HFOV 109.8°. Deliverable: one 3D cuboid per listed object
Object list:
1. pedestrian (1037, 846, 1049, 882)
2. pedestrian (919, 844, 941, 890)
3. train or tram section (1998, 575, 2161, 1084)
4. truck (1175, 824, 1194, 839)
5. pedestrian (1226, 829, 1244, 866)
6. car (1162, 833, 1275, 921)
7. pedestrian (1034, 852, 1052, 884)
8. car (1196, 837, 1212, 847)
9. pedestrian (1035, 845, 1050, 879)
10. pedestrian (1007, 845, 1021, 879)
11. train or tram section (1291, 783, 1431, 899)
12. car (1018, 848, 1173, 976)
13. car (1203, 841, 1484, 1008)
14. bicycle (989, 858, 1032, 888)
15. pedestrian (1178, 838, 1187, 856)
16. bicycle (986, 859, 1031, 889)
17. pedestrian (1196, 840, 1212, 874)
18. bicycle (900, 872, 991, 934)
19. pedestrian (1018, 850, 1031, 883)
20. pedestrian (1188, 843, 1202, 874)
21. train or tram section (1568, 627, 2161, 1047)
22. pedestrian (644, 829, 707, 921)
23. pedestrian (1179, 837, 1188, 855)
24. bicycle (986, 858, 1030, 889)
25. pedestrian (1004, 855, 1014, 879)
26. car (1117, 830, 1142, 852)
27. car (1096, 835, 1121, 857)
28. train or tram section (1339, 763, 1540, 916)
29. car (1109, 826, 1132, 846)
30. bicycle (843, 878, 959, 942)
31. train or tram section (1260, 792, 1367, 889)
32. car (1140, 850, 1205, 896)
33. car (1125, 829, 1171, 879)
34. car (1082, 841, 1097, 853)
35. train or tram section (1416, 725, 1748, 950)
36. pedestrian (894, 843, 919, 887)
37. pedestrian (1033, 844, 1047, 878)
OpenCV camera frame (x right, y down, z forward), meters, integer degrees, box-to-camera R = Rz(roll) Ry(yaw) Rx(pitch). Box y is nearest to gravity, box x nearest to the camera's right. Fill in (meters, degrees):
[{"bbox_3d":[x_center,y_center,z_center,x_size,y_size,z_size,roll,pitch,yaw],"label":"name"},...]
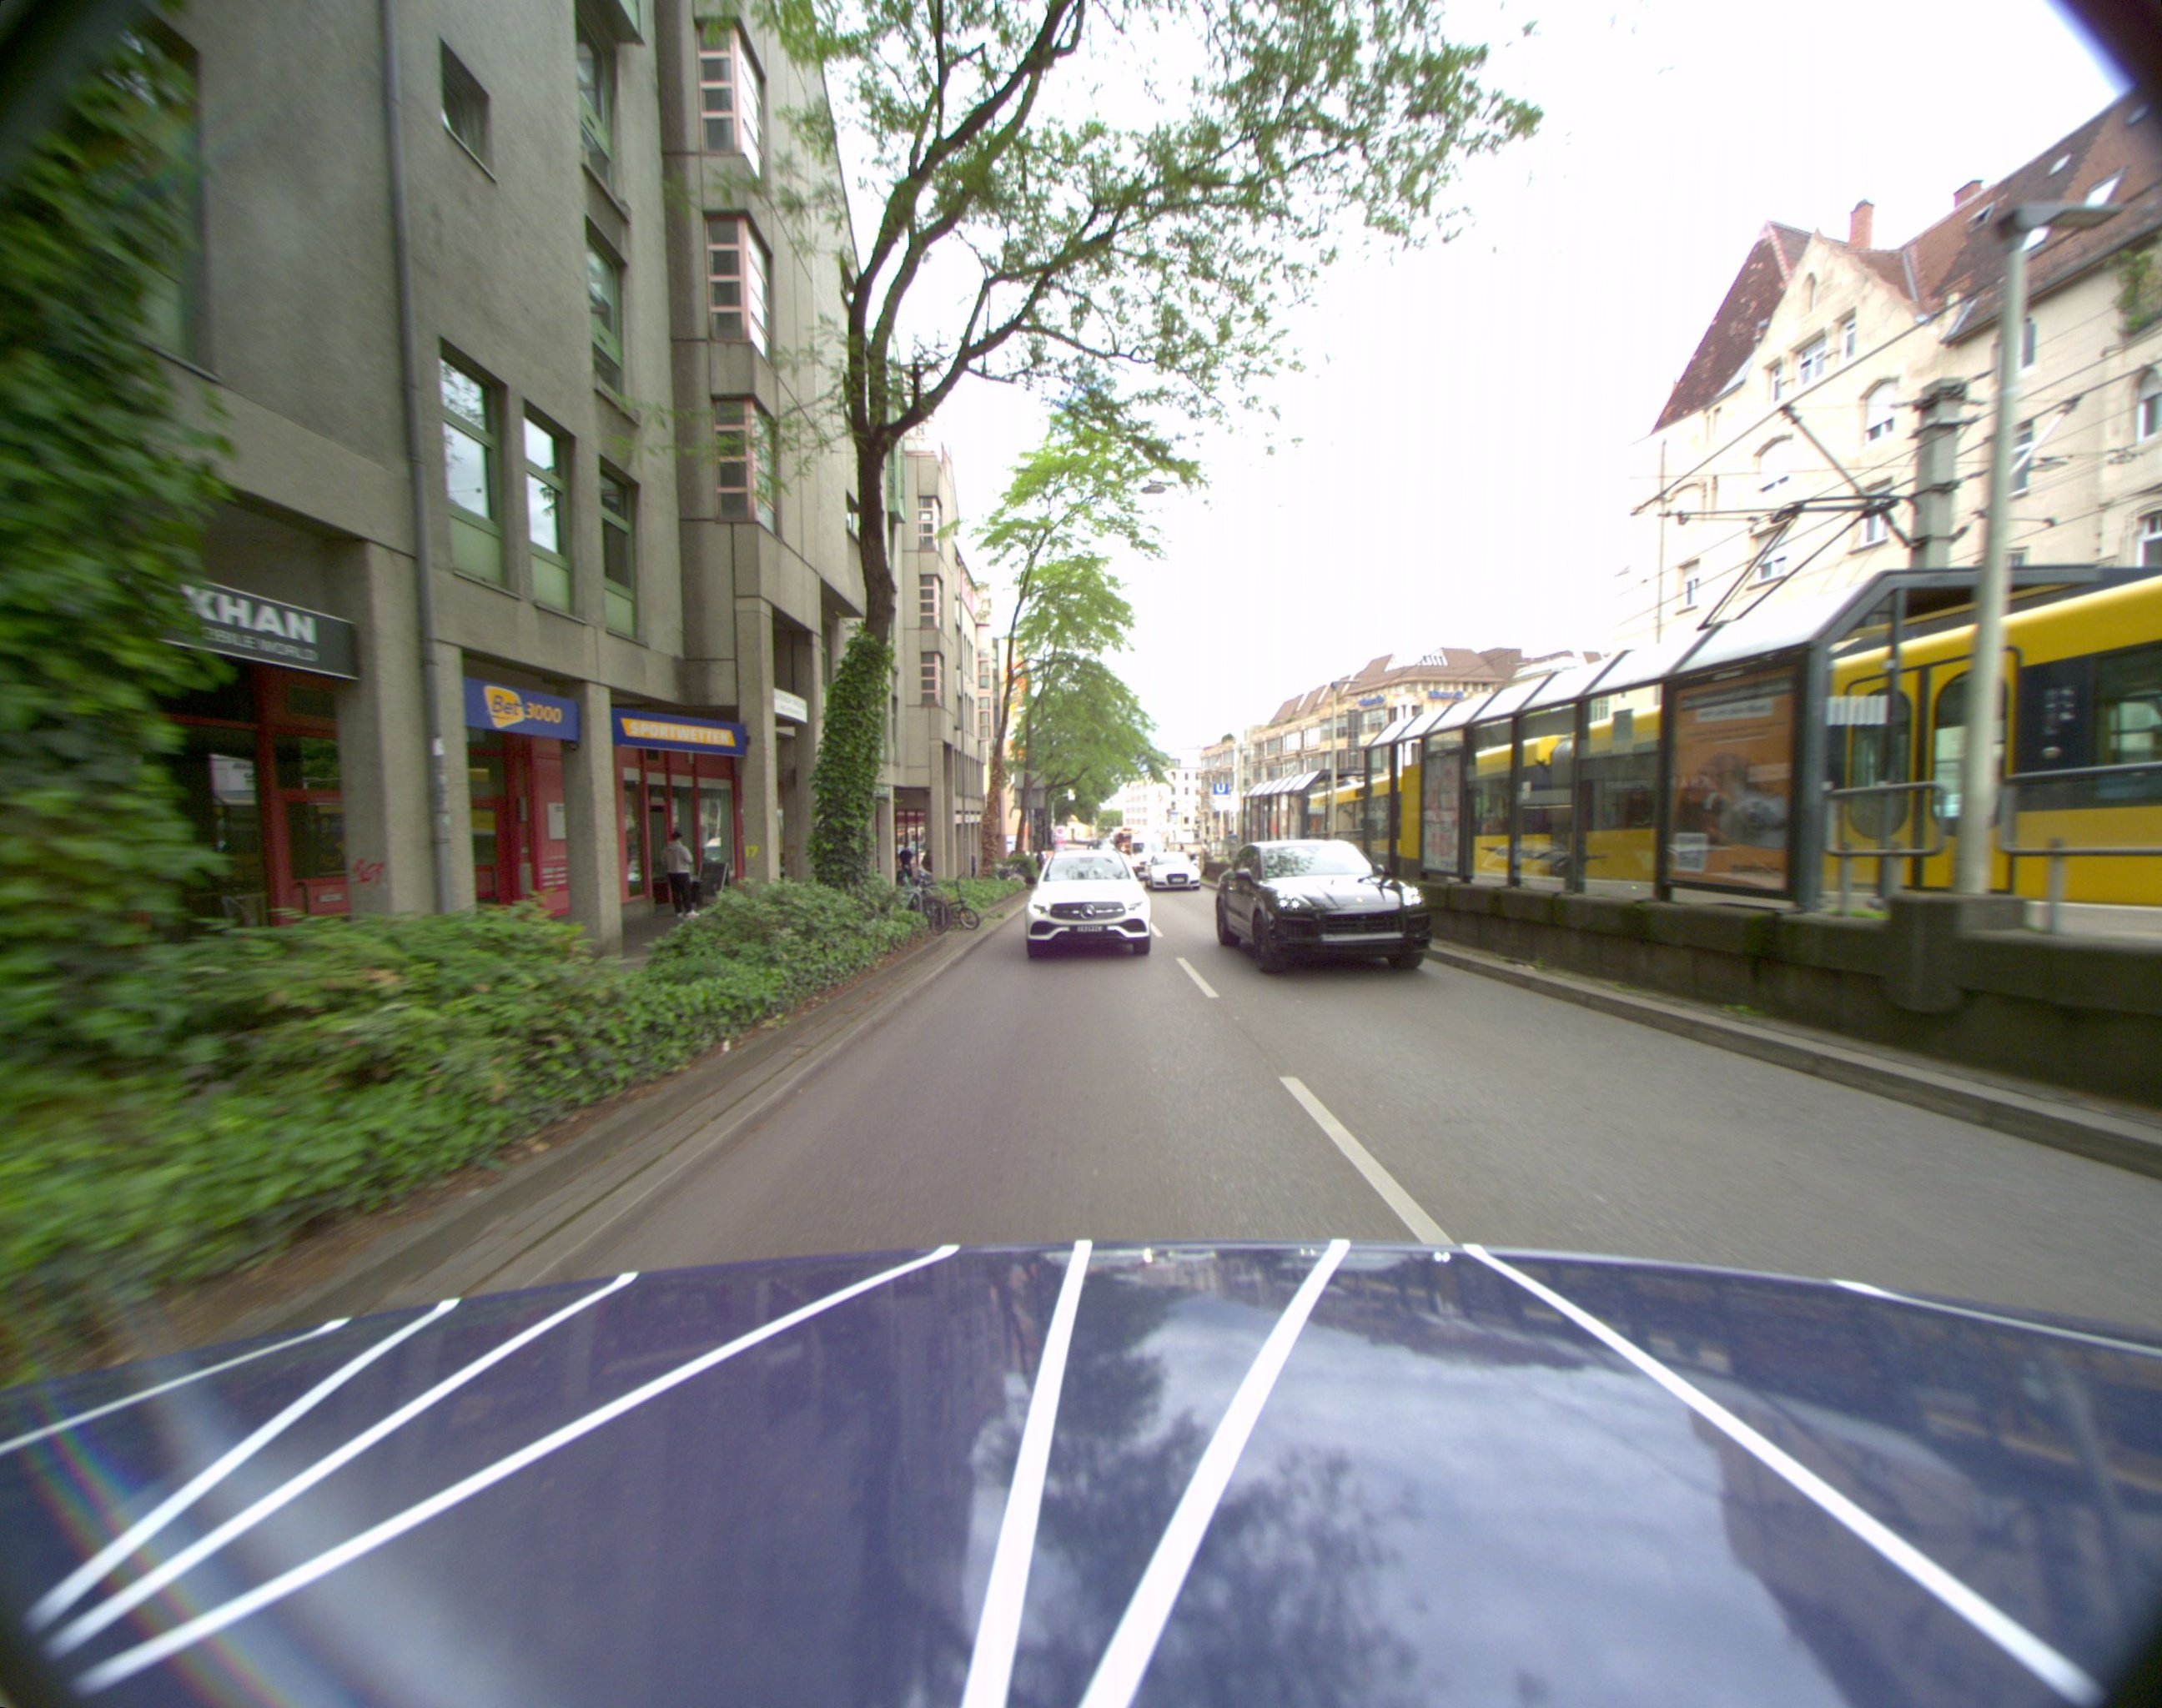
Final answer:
[{"bbox_3d":[-1.899,0.493,37.992,0.520,1.779,0.764,-2,2,-3],"label":"pedestrian"},{"bbox_3d":[-5.937,0.501,29.895,0.764,1.773,0.847,0,1,-4],"label":"pedestrian"},{"bbox_3d":[9.089,-0.175,3.445,2.820,3.645,5.902,-2,1,2],"label":"train or tram section"},{"bbox_3d":[21.123,-4.654,154.997,2.273,3.059,7.368,1,2,-5],"label":"truck"},{"bbox_3d":[7.260,-0.325,35.860,0.719,1.721,0.670,-2,2,3],"label":"pedestrian"},{"bbox_3d":[3.583,0.485,20.853,2.370,2.002,5.147,-2,2,3],"label":"car"},{"bbox_3d":[-1.908,0.702,38.531,0.838,1.554,0.764,-2,2,-3],"label":"pedestrian"},{"bbox_3d":[22.498,-2.179,138.693,1.678,1.749,4.778,-2,2,-5],"label":"car"},{"bbox_3d":[-2.087,0.442,40.741,0.695,1.767,0.689,3,2,-3],"label":"pedestrian"},{"bbox_3d":[-3.671,0.444,41.819,0.723,1.792,0.834,1,-1,-3],"label":"pedestrian"},{"bbox_3d":[9.534,-0.456,26.578,2.842,3.501,5.751,-2,1,2],"label":"train or tram section"},{"bbox_3d":[0.054,0.791,12.529,2.061,1.599,3.923,-2,2,-5],"label":"car"},{"bbox_3d":[3.108,0.717,10.437,2.088,1.665,5.352,-1,0,1],"label":"car"},{"bbox_3d":[-2.854,0.764,30.621,1.713,1.177,0.448,1,2,-6],"label":"bicycle"},{"bbox_3d":[10.038,-0.674,75.046,0.766,1.712,0.637,-1,2,1],"label":"pedestrian"},{"bbox_3d":[-2.828,0.779,29.695,1.713,1.177,0.448,1,2,-6],"label":"bicycle"},{"bbox_3d":[6.274,0.147,38.653,0.687,1.701,0.711,-1,1,1],"label":"pedestrian"},{"bbox_3d":[-2.638,0.944,14.855,1.623,1.121,0.613,1,2,5],"label":"bicycle"},{"bbox_3d":[-2.833,0.631,38.048,0.618,1.602,0.764,1,-1,-9],"label":"pedestrian"},{"bbox_3d":[6.196,0.236,41.249,0.637,1.701,0.871,-1,1,1],"label":"pedestrian"},{"bbox_3d":[9.178,-0.201,9.285,2.842,3.501,5.751,-2,1,2],"label":"train or tram section"},{"bbox_3d":[-8.145,0.422,15.285,0.833,1.792,0.724,1,0,4],"label":"pedestrian"},{"bbox_3d":[10.020,-0.806,74.392,0.793,1.712,0.772,-1,2,1],"label":"pedestrian"},{"bbox_3d":[-2.889,0.770,30.162,1.713,1.177,0.448,1,2,-6],"label":"bicycle"},{"bbox_3d":[-4.094,0.713,42.981,0.472,1.326,0.519,-2,2,-3],"label":"pedestrian"},{"bbox_3d":[6.397,-1.772,101.722,2.504,2.793,5.724,-2,2,-4],"label":"car"},{"bbox_3d":[2.874,-0.915,80.965,2.503,2.145,5.726,-2,2,2],"label":"car"},{"bbox_3d":[9.451,-0.395,20.822,2.842,3.501,5.751,-2,1,2],"label":"train or tram section"},{"bbox_3d":[5.610,-2.629,109.129,2.504,2.793,5.724,-2,2,-4],"label":"car"},{"bbox_3d":[-3.212,0.995,13.650,1.921,1.070,0.613,1,2,-2],"label":"bicycle"},{"bbox_3d":[9.707,-0.586,32.340,2.842,3.658,5.751,-2,1,2],"label":"train or tram section"},{"bbox_3d":[3.571,0.690,30.262,1.950,1.522,3.998,-2,2,-2],"label":"car"},{"bbox_3d":[4.072,-0.096,46.894,2.281,2.744,5.938,-2,2,1],"label":"car"},{"bbox_3d":[1.227,-1.011,110.983,1.949,1.522,3.998,-2,2,-1],"label":"car"},{"bbox_3d":[9.295,-0.302,15.043,2.842,3.501,5.751,-2,1,2],"label":"train or tram section"},{"bbox_3d":[-7.255,0.445,31.640,0.834,1.792,0.723,1,-1,1],"label":"pedestrian"},{"bbox_3d":[-2.255,0.396,42.219,0.736,1.864,0.733,-2,2,-3],"label":"pedestrian"}]
